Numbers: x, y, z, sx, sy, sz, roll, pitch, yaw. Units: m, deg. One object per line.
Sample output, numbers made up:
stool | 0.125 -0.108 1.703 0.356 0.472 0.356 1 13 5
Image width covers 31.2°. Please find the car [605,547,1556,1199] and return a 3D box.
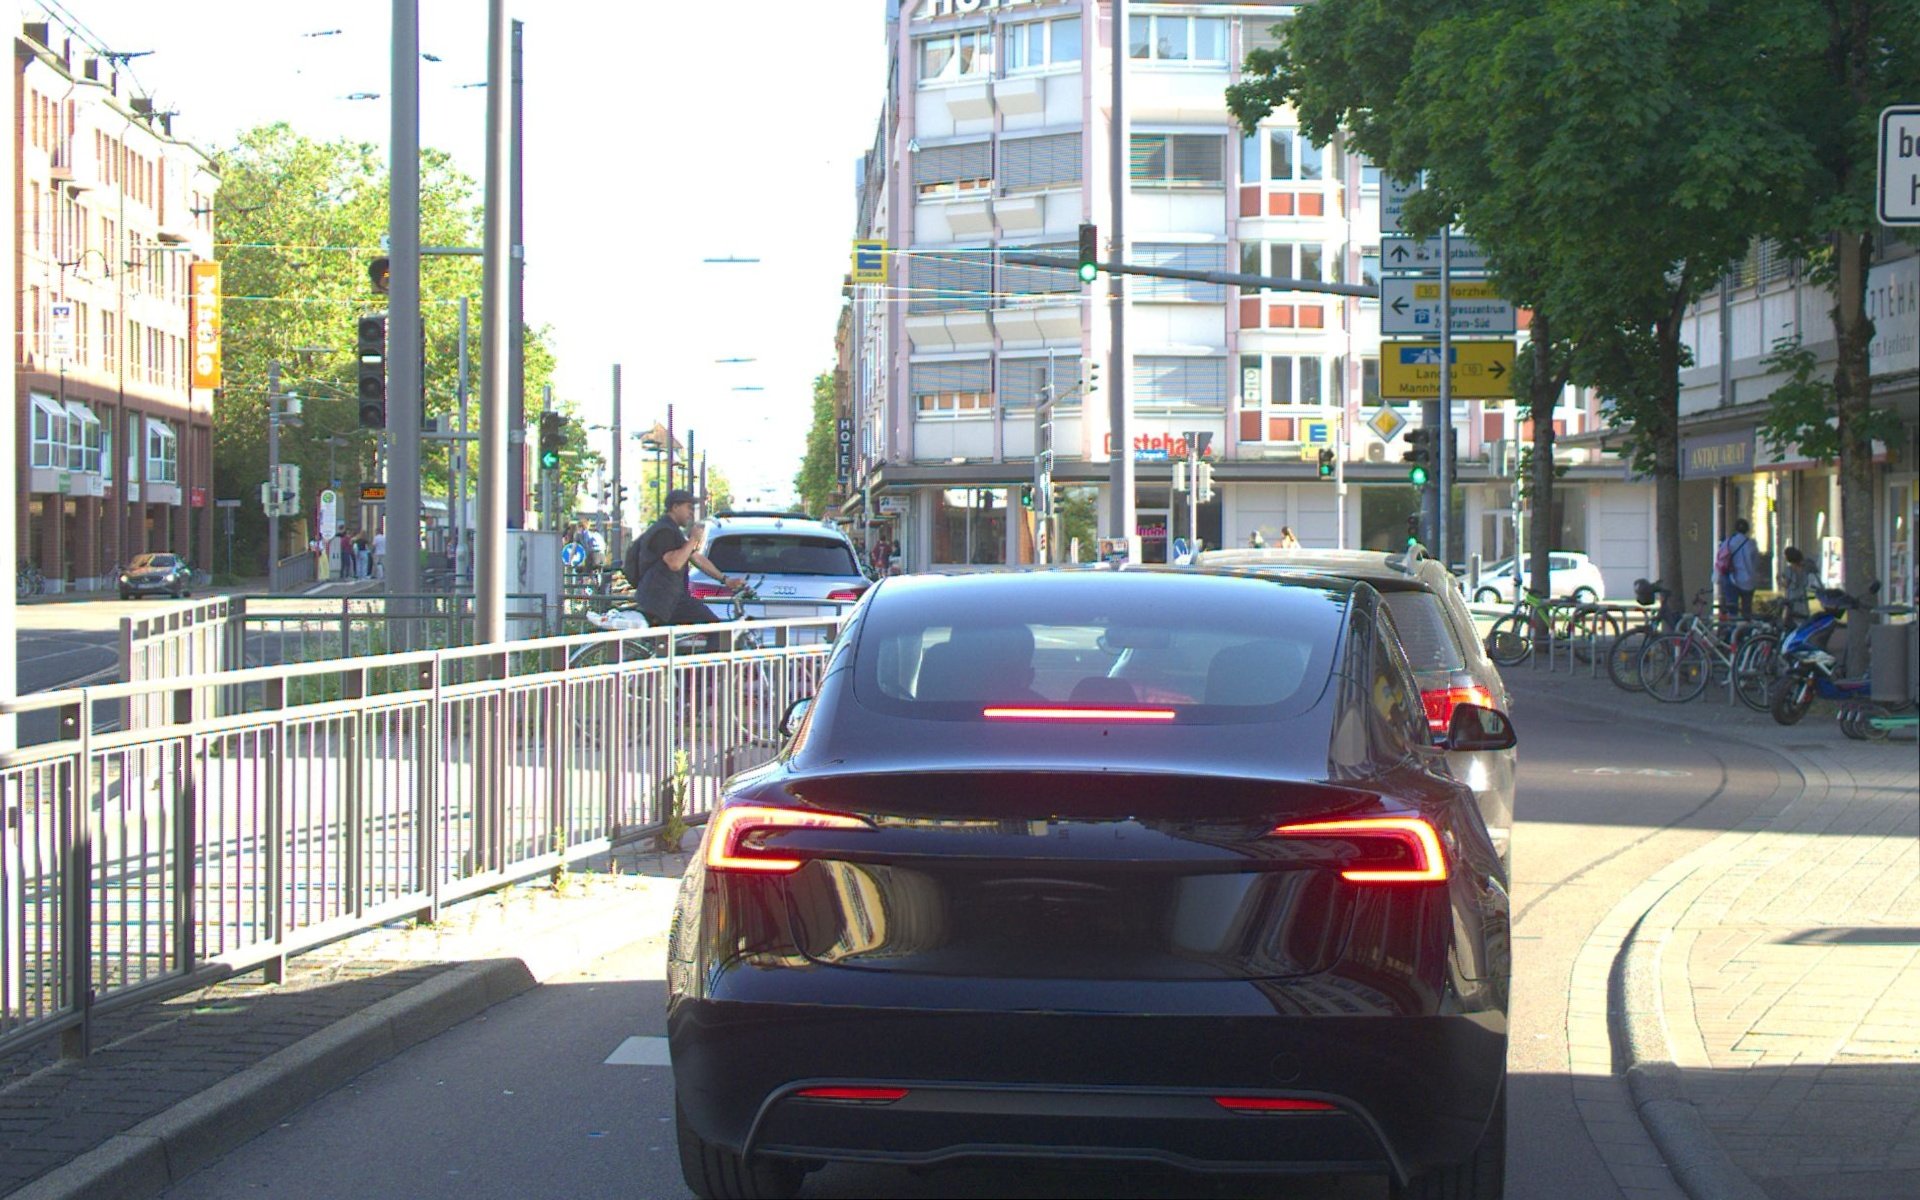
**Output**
car | 0.324 0.627 8.509 1.790 1.446 3.939 1 2 3

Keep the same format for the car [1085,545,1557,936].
car | 1.535 0.495 15.340 1.765 1.439 4.528 1 1 4

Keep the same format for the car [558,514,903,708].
car | -2.113 0.073 30.774 1.839 1.629 3.486 1 1 -27

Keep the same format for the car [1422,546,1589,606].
car | 13.702 -0.593 86.465 3.840 1.427 1.804 0 -1 -5

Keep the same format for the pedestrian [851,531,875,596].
pedestrian | -2.664 -1.018 94.849 0.626 1.776 0.918 1 0 -1

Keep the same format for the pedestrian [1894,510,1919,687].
pedestrian | 9.661 -0.016 33.504 0.843 1.701 0.880 1 0 -1

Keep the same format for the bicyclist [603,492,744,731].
bicyclist | -1.856 0.069 22.257 0.681 1.518 0.635 1 0 -31

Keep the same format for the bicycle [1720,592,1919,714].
bicycle | 7.879 0.475 31.319 1.849 1.052 0.399 -1 1 -11

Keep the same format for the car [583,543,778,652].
car | -4.177 -0.052 50.981 1.725 1.546 3.474 1 1 -26

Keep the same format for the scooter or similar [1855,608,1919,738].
scooter or similar | 7.620 0.579 27.309 0.964 1.023 0.160 0 1 3

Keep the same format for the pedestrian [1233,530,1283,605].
pedestrian | 6.360 -0.693 73.361 0.779 1.571 0.868 1 2 -15

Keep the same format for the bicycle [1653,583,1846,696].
bicycle | 7.650 0.377 33.343 1.767 1.053 0.458 1 0 5

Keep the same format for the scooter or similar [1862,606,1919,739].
scooter or similar | 7.615 0.571 27.108 0.956 1.035 0.160 0 1 3

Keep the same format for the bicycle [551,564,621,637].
bicycle | -6.504 0.002 59.682 0.626 1.219 2.041 1 1 -23

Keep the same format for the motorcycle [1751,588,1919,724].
motorcycle | 7.685 0.473 29.237 1.787 1.126 0.504 1 0 -3

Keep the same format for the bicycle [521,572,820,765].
bicycle | -1.866 0.432 22.251 1.820 1.207 0.642 0 1 -31

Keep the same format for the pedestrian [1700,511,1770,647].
pedestrian | 9.956 -0.272 44.175 0.843 1.715 0.879 1 0 12

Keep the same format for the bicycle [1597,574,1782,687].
bicycle | 7.484 0.312 35.303 1.809 1.147 0.435 0 0 -4

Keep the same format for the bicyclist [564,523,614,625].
bicyclist | -6.429 -0.452 59.568 0.612 1.765 0.830 1 0 -23

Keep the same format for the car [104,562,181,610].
car | -25.418 -0.448 106.997 1.817 1.449 3.978 -1 1 -6

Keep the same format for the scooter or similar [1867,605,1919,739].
scooter or similar | 7.609 0.561 26.910 0.964 1.039 0.160 0 1 3

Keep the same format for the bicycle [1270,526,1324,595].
bicycle | 7.226 -0.850 73.766 0.582 1.458 1.686 0 1 -16

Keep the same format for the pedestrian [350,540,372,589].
pedestrian | -19.035 -1.131 109.177 0.583 1.525 0.638 1 0 -18

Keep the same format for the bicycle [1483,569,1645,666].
bicycle | 7.440 0.215 42.373 1.890 1.152 0.480 -1 0 0

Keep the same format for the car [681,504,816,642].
car | -2.604 -0.340 42.766 1.572 1.612 3.784 1 1 -3

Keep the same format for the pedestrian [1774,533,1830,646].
pedestrian | 10.723 -0.140 43.782 0.645 1.417 0.621 1 0 11
